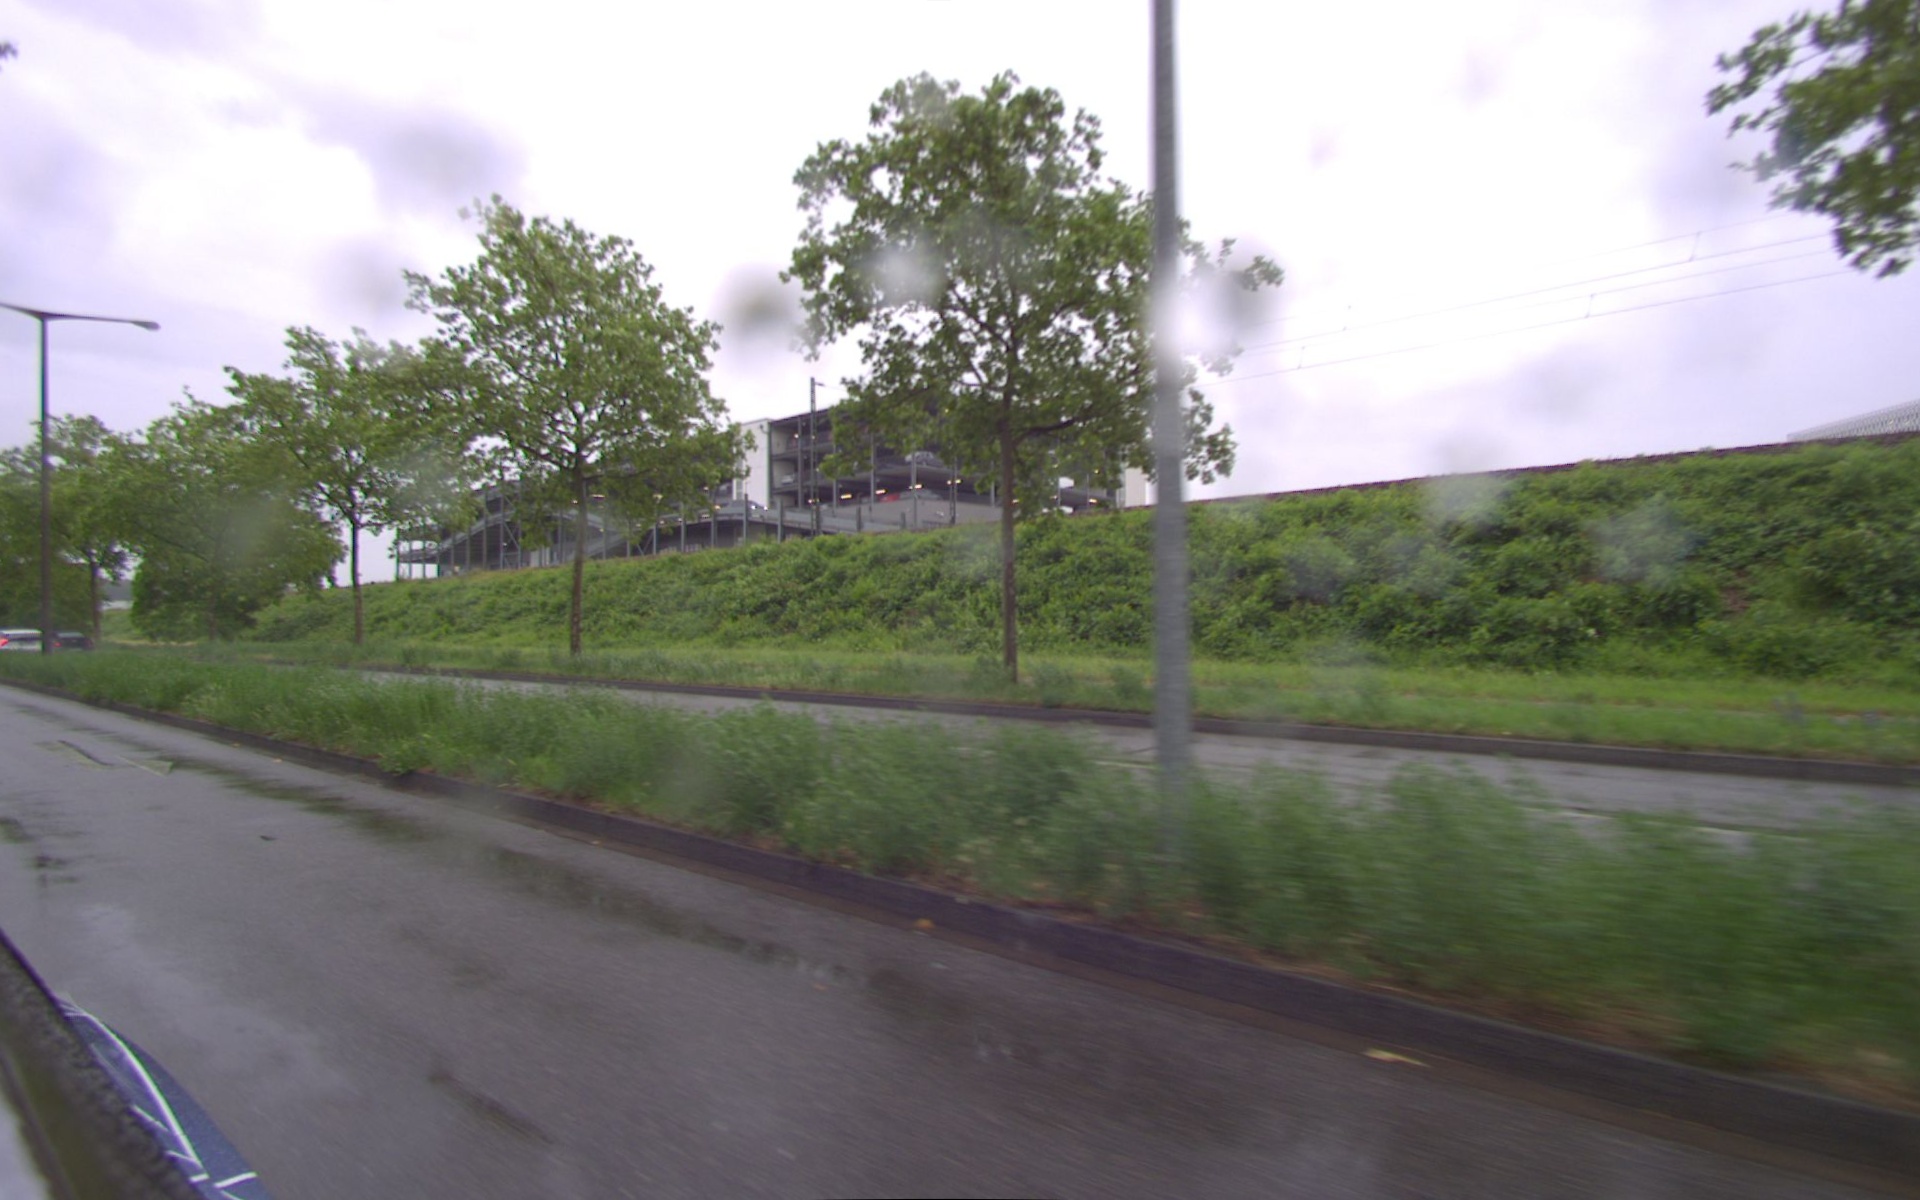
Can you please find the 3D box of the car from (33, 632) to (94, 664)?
[{"bbox_3d":[-42.579,2.266,48.042,3.997,1.437,1.615,-2,-1,40],"label":"car"}]

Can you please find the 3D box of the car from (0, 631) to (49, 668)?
[{"bbox_3d":[-40.914,2.124,43.590,4.196,1.506,1.687,-2,-1,36],"label":"car"}]
